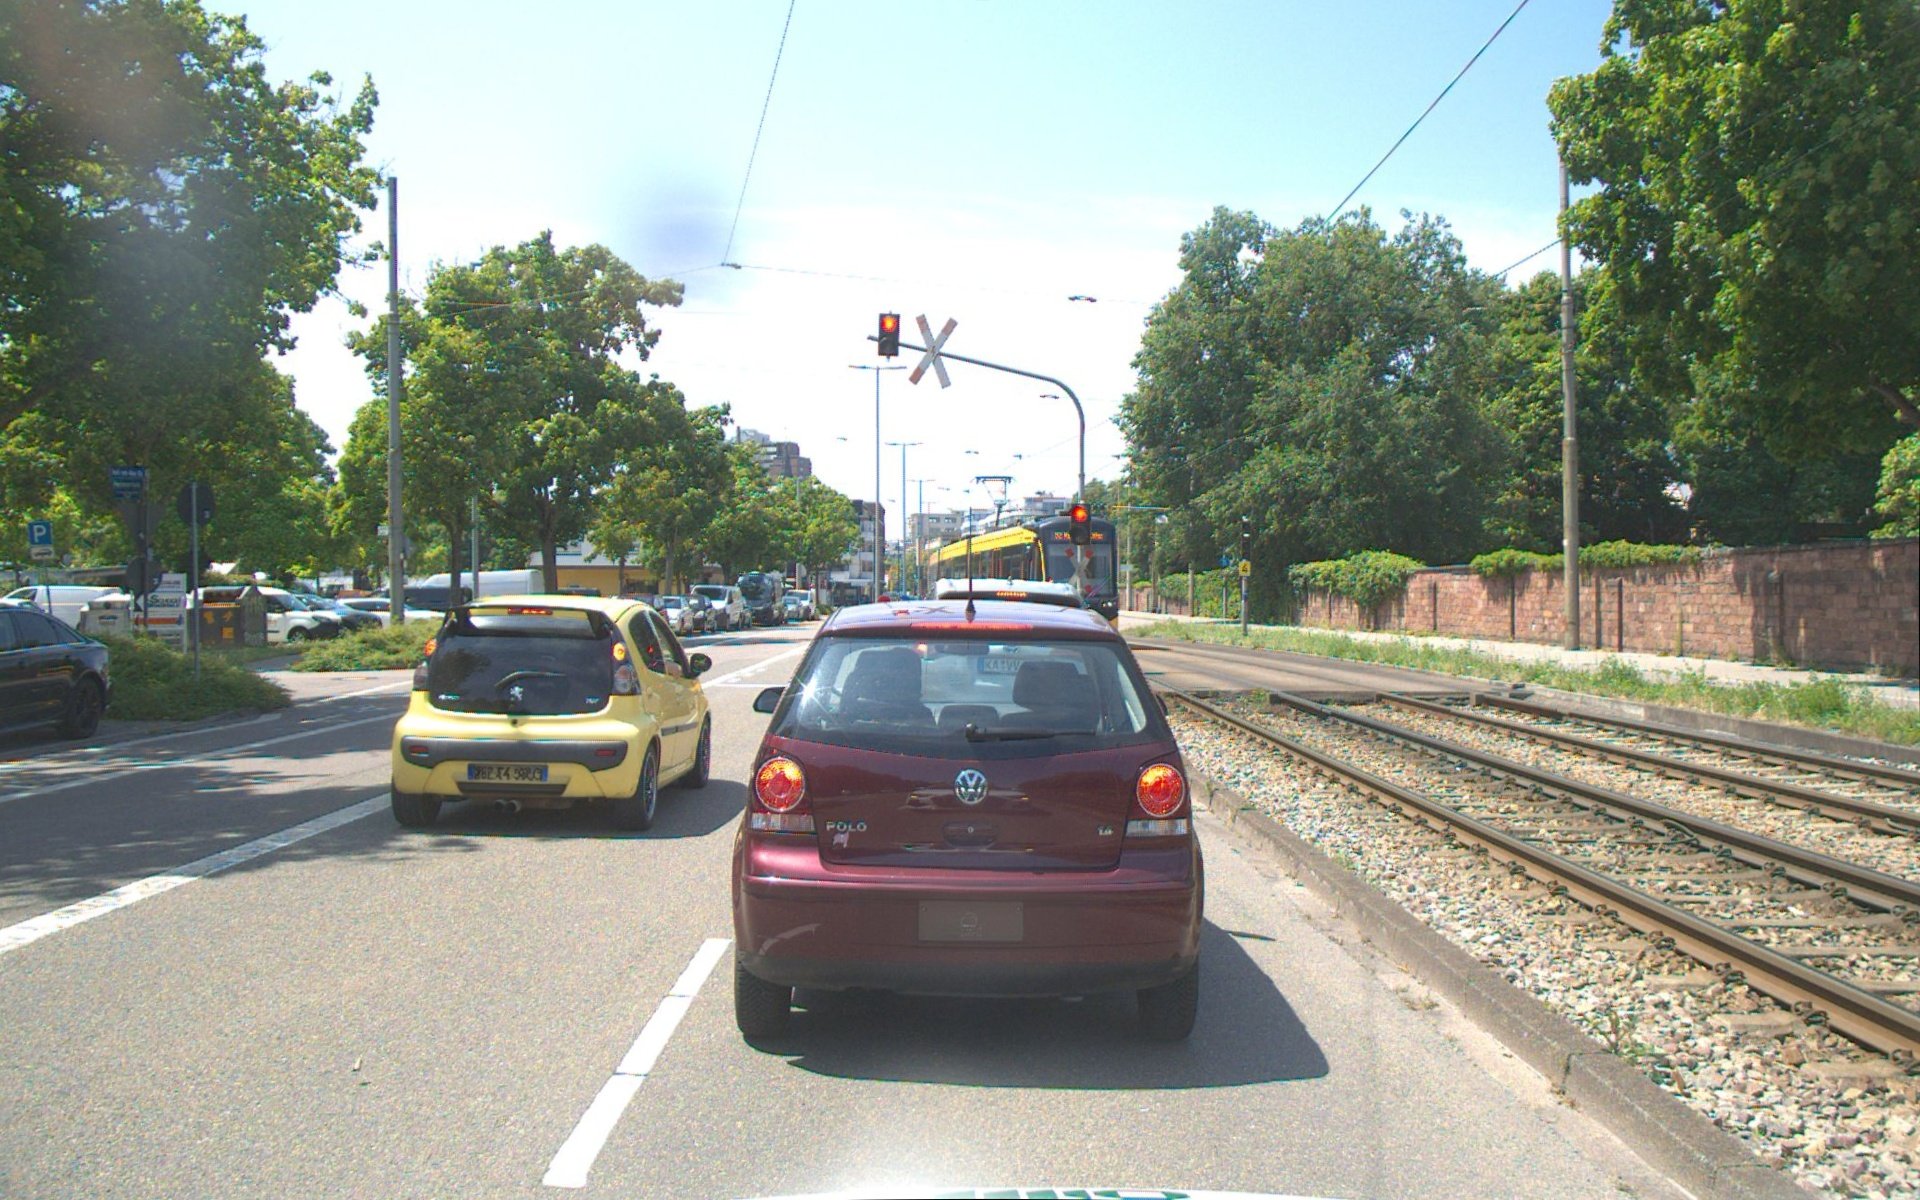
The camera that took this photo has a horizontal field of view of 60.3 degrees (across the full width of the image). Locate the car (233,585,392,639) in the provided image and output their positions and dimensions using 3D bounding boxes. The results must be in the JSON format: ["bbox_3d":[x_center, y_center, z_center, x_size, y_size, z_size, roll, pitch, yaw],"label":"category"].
[{"bbox_3d":[-20.382,0.368,52.147,4.251,1.612,1.914,0,0,5],"label":"car"}]

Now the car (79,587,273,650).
[{"bbox_3d":[-20.944,0.484,44.329,4.256,1.612,1.912,-1,0,-3],"label":"car"}]

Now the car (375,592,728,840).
[{"bbox_3d":[-2.687,0.689,11.648,1.656,1.435,3.514,2,0,-2],"label":"car"}]

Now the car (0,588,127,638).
[{"bbox_3d":[-32.847,0.469,60.353,3.913,1.682,1.812,2,-1,-9],"label":"car"}]

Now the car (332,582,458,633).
[{"bbox_3d":[-20.524,0.255,60.178,3.906,1.776,1.998,-1,0,-2],"label":"car"}]

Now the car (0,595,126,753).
[{"bbox_3d":[-10.310,0.724,16.481,1.782,1.502,4.448,2,0,-1],"label":"car"}]

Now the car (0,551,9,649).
[{"bbox_3d":[-33.116,-0.122,50.387,6.714,3.017,2.363,2,-1,-2],"label":"car"}]

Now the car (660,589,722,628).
[{"bbox_3d":[-10.637,0.344,65.562,1.581,1.466,4.001,2,-1,3],"label":"car"}]

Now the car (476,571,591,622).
[{"bbox_3d":[-21.086,-0.160,81.938,4.993,2.283,2.378,2,-1,0],"label":"car"}]

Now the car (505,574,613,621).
[{"bbox_3d":[-21.049,-0.114,87.008,4.993,2.283,2.378,2,-1,0],"label":"car"}]

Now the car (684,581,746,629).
[{"bbox_3d":[-10.464,0.235,71.019,1.746,1.914,4.787,2,-1,2],"label":"car"}]

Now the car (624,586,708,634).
[{"bbox_3d":[-10.751,0.377,60.775,1.934,1.629,4.560,2,-1,4],"label":"car"}]

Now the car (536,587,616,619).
[{"bbox_3d":[-21.213,0.172,91.408,3.938,1.645,1.816,2,-1,0],"label":"car"}]

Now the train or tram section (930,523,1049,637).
[{"bbox_3d":[0.883,-0.729,60.185,2.689,3.672,10.932,2,0,-7],"label":"train or tram section"}]

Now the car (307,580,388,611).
[{"bbox_3d":[-35.343,-0.228,95.434,3.939,1.645,1.816,2,-1,-2],"label":"car"}]

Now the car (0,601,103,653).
[{"bbox_3d":[-32.486,0.925,57.944,3.913,1.682,1.812,2,-1,-9],"label":"car"}]

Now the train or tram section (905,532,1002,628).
[{"bbox_3d":[-0.435,-0.840,70.669,2.689,3.672,10.932,2,0,-7],"label":"train or tram section"}]

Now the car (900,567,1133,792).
[{"bbox_3d":[0.381,0.594,14.636,1.741,1.676,3.999,2,0,-2],"label":"car"}]

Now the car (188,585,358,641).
[{"bbox_3d":[-20.462,0.387,49.342,4.251,1.612,1.914,0,0,5],"label":"car"}]

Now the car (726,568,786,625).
[{"bbox_3d":[-10.322,-0.141,84.065,2.313,2.739,5.307,2,-1,0],"label":"car"}]

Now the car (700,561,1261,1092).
[{"bbox_3d":[0.017,0.667,6.936,1.638,1.548,3.999,2,0,-2],"label":"car"}]

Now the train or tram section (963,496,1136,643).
[{"bbox_3d":[2.312,-0.848,48.766,2.689,3.672,12.849,2,0,-7],"label":"train or tram section"}]

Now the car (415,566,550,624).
[{"bbox_3d":[-20.346,-0.190,70.645,4.993,2.283,2.378,2,-1,0],"label":"car"}]

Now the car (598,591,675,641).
[{"bbox_3d":[-10.556,0.537,54.228,1.628,1.523,4.000,2,-1,1],"label":"car"}]

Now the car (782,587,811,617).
[{"bbox_3d":[-10.609,0.130,107.342,1.741,1.860,3.995,2,-1,-6],"label":"car"}]

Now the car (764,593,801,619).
[{"bbox_3d":[-10.846,0.385,101.133,1.581,1.466,4.001,2,-1,3],"label":"car"}]

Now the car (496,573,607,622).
[{"bbox_3d":[-20.817,-0.129,84.413,4.993,2.283,2.378,2,-1,0],"label":"car"}]
